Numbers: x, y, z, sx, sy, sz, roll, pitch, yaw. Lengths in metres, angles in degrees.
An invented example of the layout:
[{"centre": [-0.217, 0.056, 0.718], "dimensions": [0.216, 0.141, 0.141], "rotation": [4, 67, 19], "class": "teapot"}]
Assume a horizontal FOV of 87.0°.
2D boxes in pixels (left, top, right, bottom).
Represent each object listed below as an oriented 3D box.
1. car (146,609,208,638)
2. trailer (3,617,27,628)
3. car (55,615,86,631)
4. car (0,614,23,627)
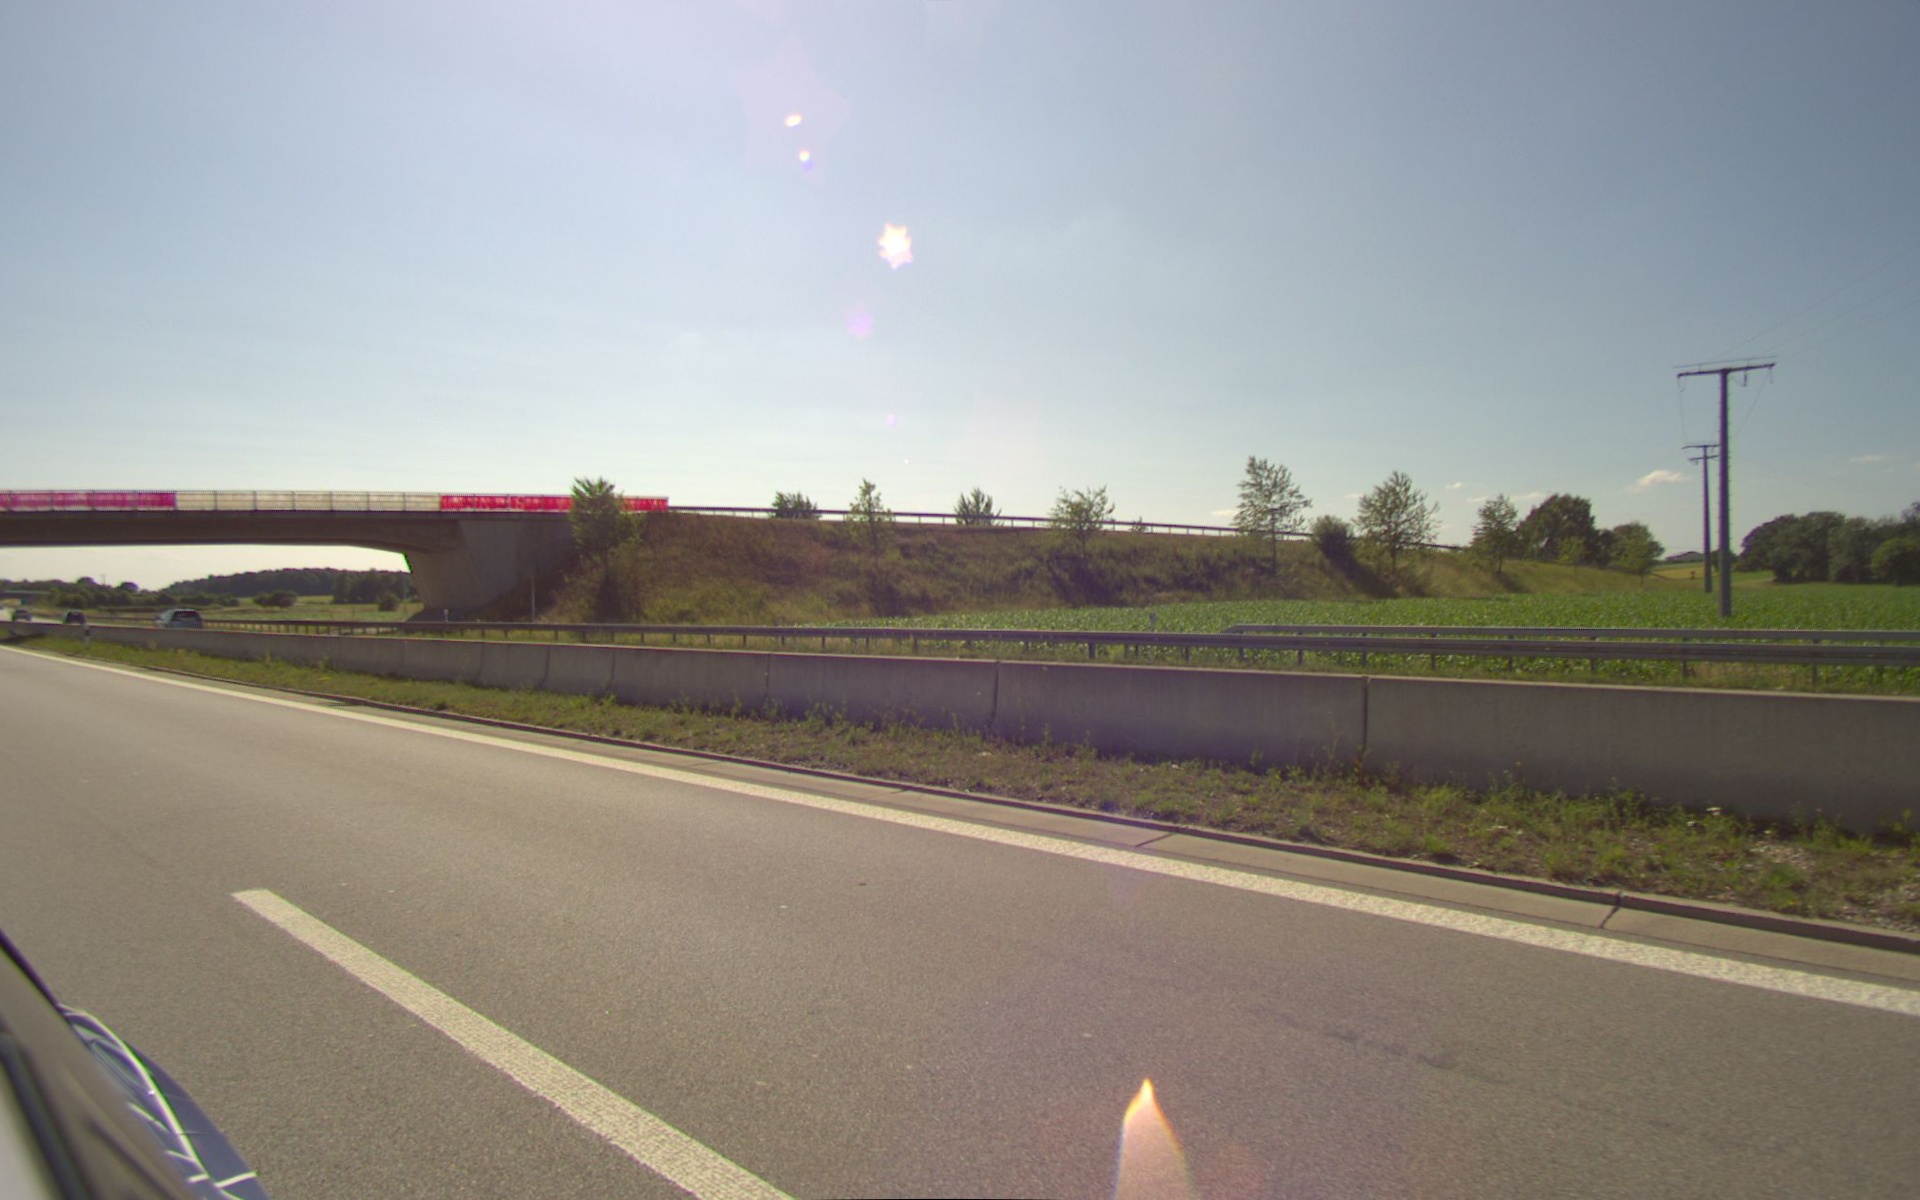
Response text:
[{"centre": [-46.036, 1.355, 59.443], "dimensions": [4.895, 1.590, 1.973], "rotation": [0, 1, 42], "class": "car"}, {"centre": [-127.193, 3.018, 136.171], "dimensions": [4.262, 1.267, 1.972], "rotation": [-1, 0, 42], "class": "trailer"}, {"centre": [-88.623, 2.262, 100.788], "dimensions": [4.194, 1.471, 1.835], "rotation": [-1, 0, 42], "class": "car"}, {"centre": [-130.853, 2.809, 139.493], "dimensions": [5.587, 1.744, 1.972], "rotation": [-1, 0, 43], "class": "car"}]
